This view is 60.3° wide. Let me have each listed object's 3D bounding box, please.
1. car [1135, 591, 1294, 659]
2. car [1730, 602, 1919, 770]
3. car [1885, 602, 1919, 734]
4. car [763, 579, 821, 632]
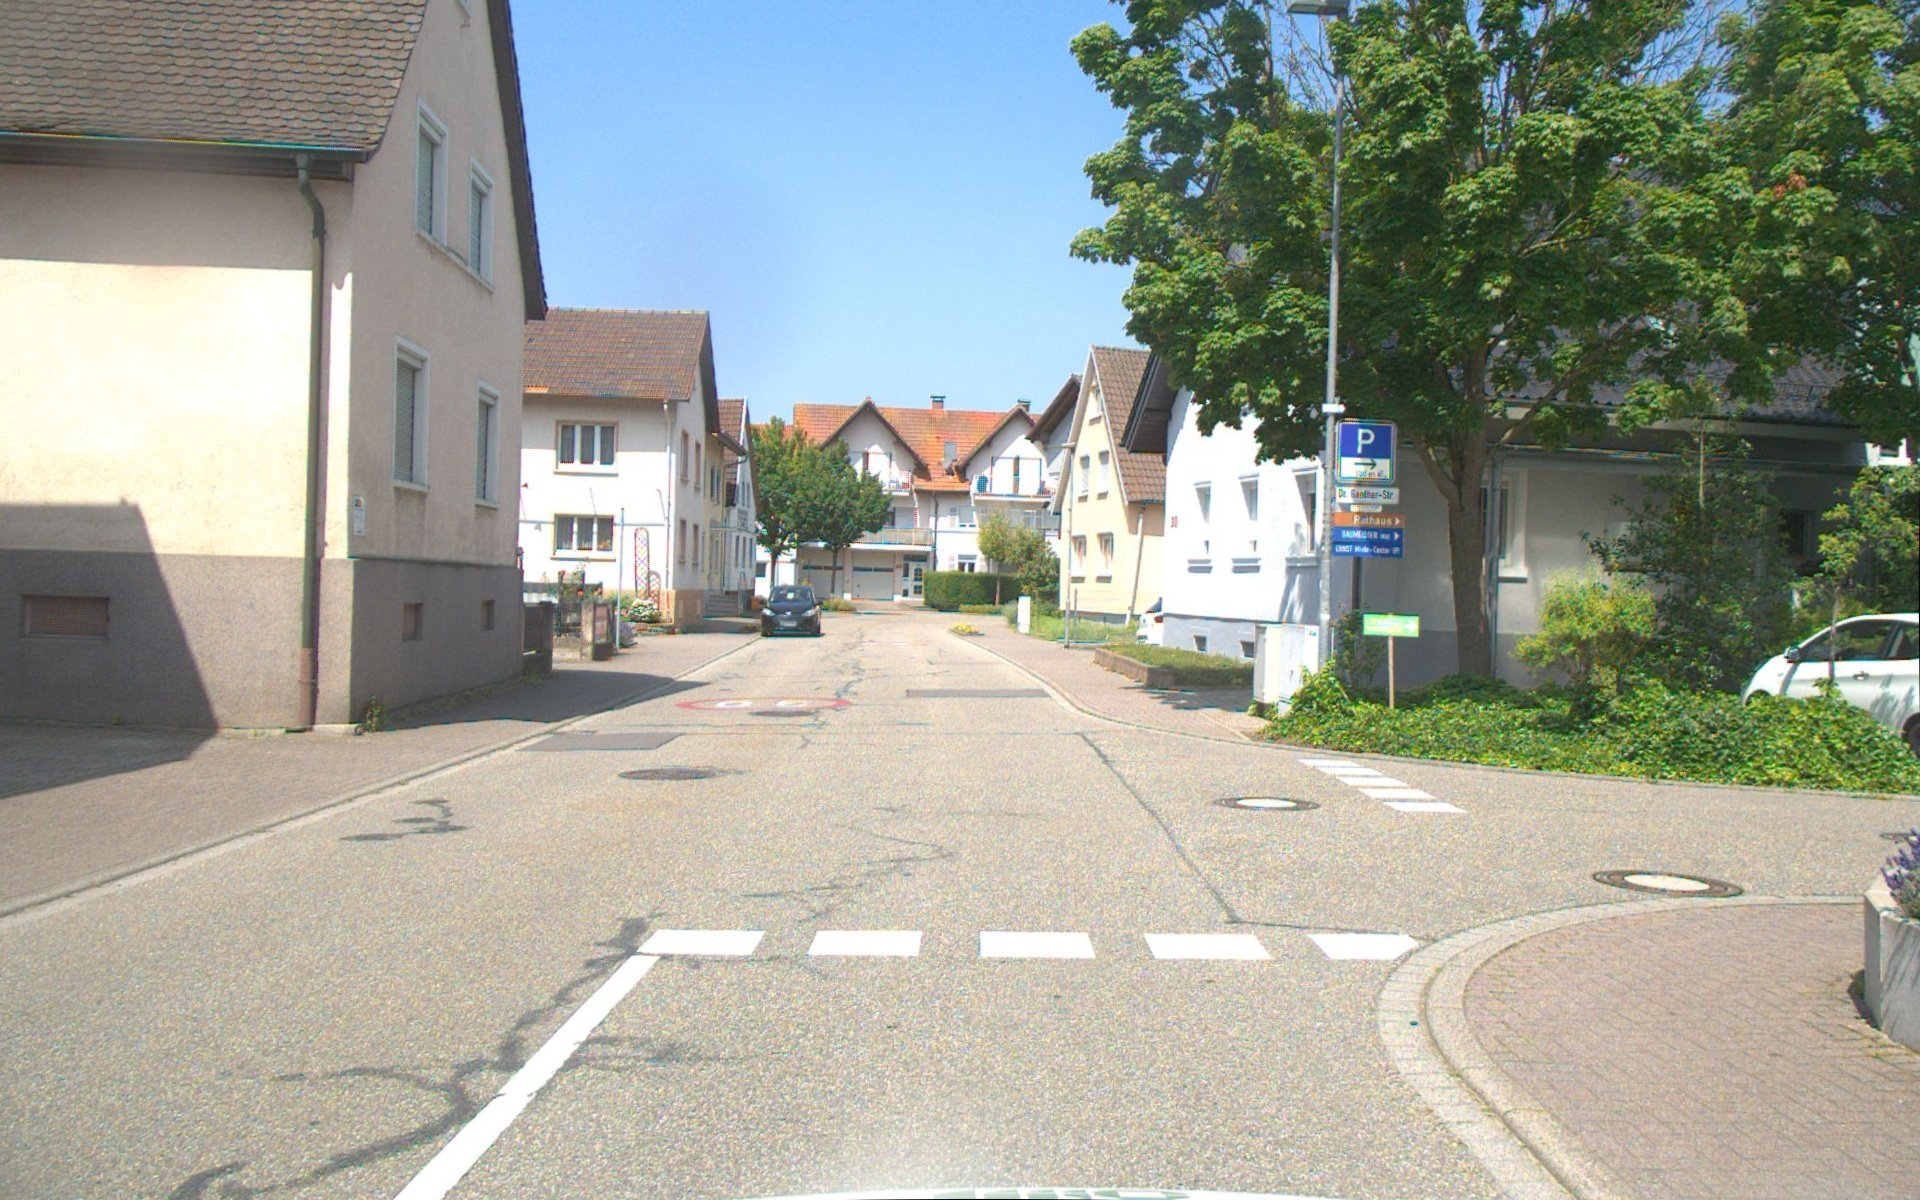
[{"bbox_3d":[5.292,0.521,34.484,2.987,1.369,1.419,1,-1,-10],"label":"car"},{"bbox_3d":[9.621,0.839,16.712,1.562,1.470,3.560,1,2,-10],"label":"car"},{"bbox_3d":[12.015,0.853,17.690,1.563,1.499,3.855,1,2,-11],"label":"car"},{"bbox_3d":[-4.993,0.138,49.446,1.594,1.512,3.997,0,1,-4],"label":"car"}]
